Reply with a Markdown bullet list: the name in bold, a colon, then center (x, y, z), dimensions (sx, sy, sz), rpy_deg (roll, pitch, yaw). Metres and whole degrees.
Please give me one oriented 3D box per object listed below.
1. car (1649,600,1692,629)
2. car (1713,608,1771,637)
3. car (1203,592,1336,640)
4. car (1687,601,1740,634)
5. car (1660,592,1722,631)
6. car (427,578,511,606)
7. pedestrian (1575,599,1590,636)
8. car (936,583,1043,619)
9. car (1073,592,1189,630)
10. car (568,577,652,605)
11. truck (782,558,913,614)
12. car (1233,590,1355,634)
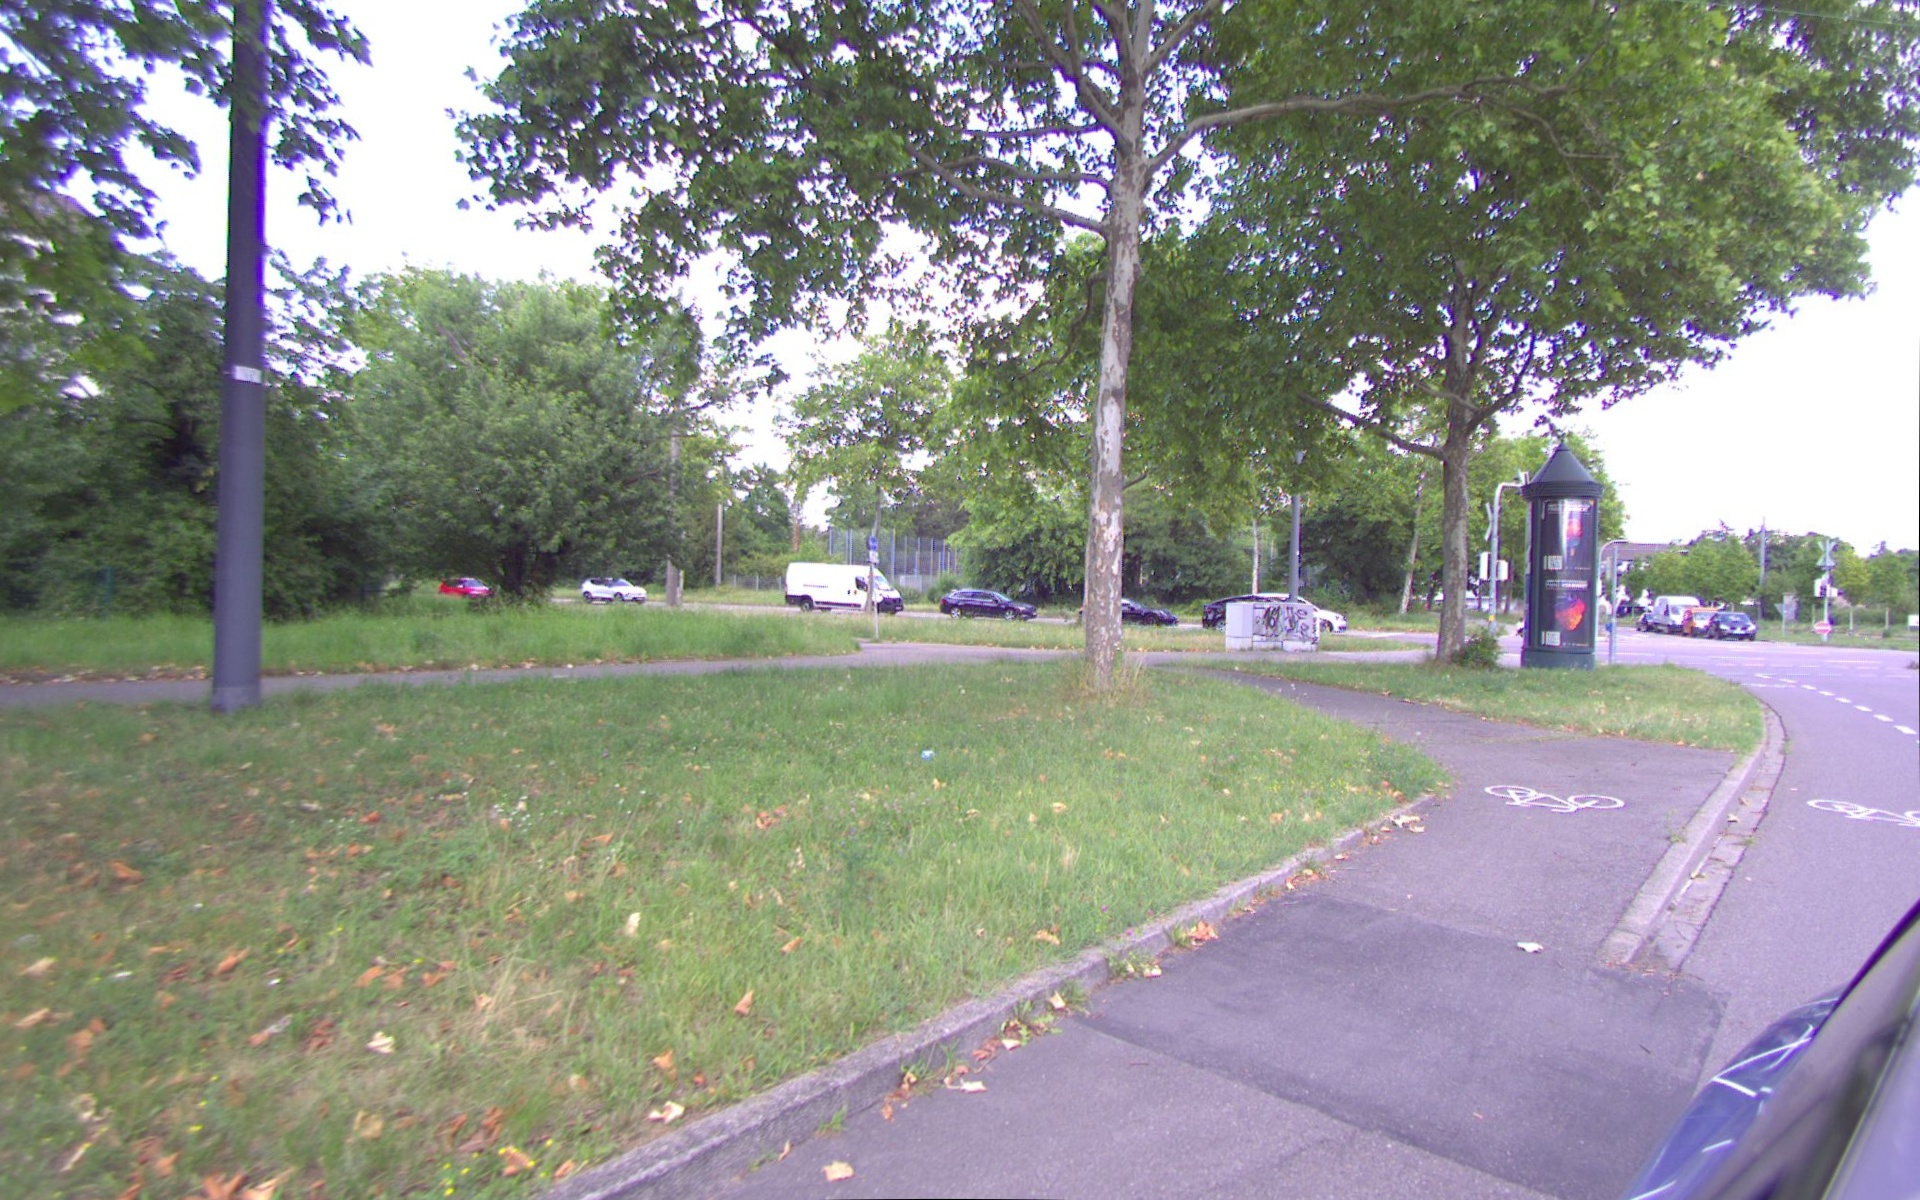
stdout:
- **car**: center (51.725, 1.029, 73.765), dimensions (1.777, 1.960, 4.332), rpy_deg (1, 0, 24)
- **car**: center (44.137, 1.248, 57.192), dimensions (1.778, 1.558, 3.964), rpy_deg (1, 0, 26)
- **car**: center (11.879, 0.581, 38.820), dimensions (4.638, 1.630, 1.983), rpy_deg (2, 1, 25)
- **car**: center (46.643, 1.051, 62.700), dimensions (1.778, 1.960, 4.330), rpy_deg (1, 0, 25)
- **car**: center (49.428, 0.752, 68.564), dimensions (2.216, 2.538, 5.678), rpy_deg (1, 0, 24)
- **car**: center (-28.942, -0.508, 59.655), dimensions (4.637, 1.532, 1.984), rpy_deg (2, 1, 25)
- **pedestrian**: center (26.031, 0.730, 42.317), dimensions (0.415, 1.527, 0.447), rpy_deg (1, 0, 23)
- **car**: center (1.402, 0.029, 47.783), dimensions (4.637, 1.532, 1.984), rpy_deg (2, 1, 25)
- **car**: center (7.564, 0.457, 44.706), dimensions (4.699, 1.488, 1.984), rpy_deg (2, 1, 25)
- **car**: center (-20.662, -0.545, 59.773), dimensions (4.637, 1.532, 1.984), rpy_deg (2, 1, 25)
- **truck**: center (-5.759, -0.731, 51.621), dimensions (6.442, 2.629, 2.197), rpy_deg (2, 0, 26)
- **car**: center (13.900, 0.462, 42.090), dimensions (4.637, 1.630, 1.984), rpy_deg (2, 1, 25)
